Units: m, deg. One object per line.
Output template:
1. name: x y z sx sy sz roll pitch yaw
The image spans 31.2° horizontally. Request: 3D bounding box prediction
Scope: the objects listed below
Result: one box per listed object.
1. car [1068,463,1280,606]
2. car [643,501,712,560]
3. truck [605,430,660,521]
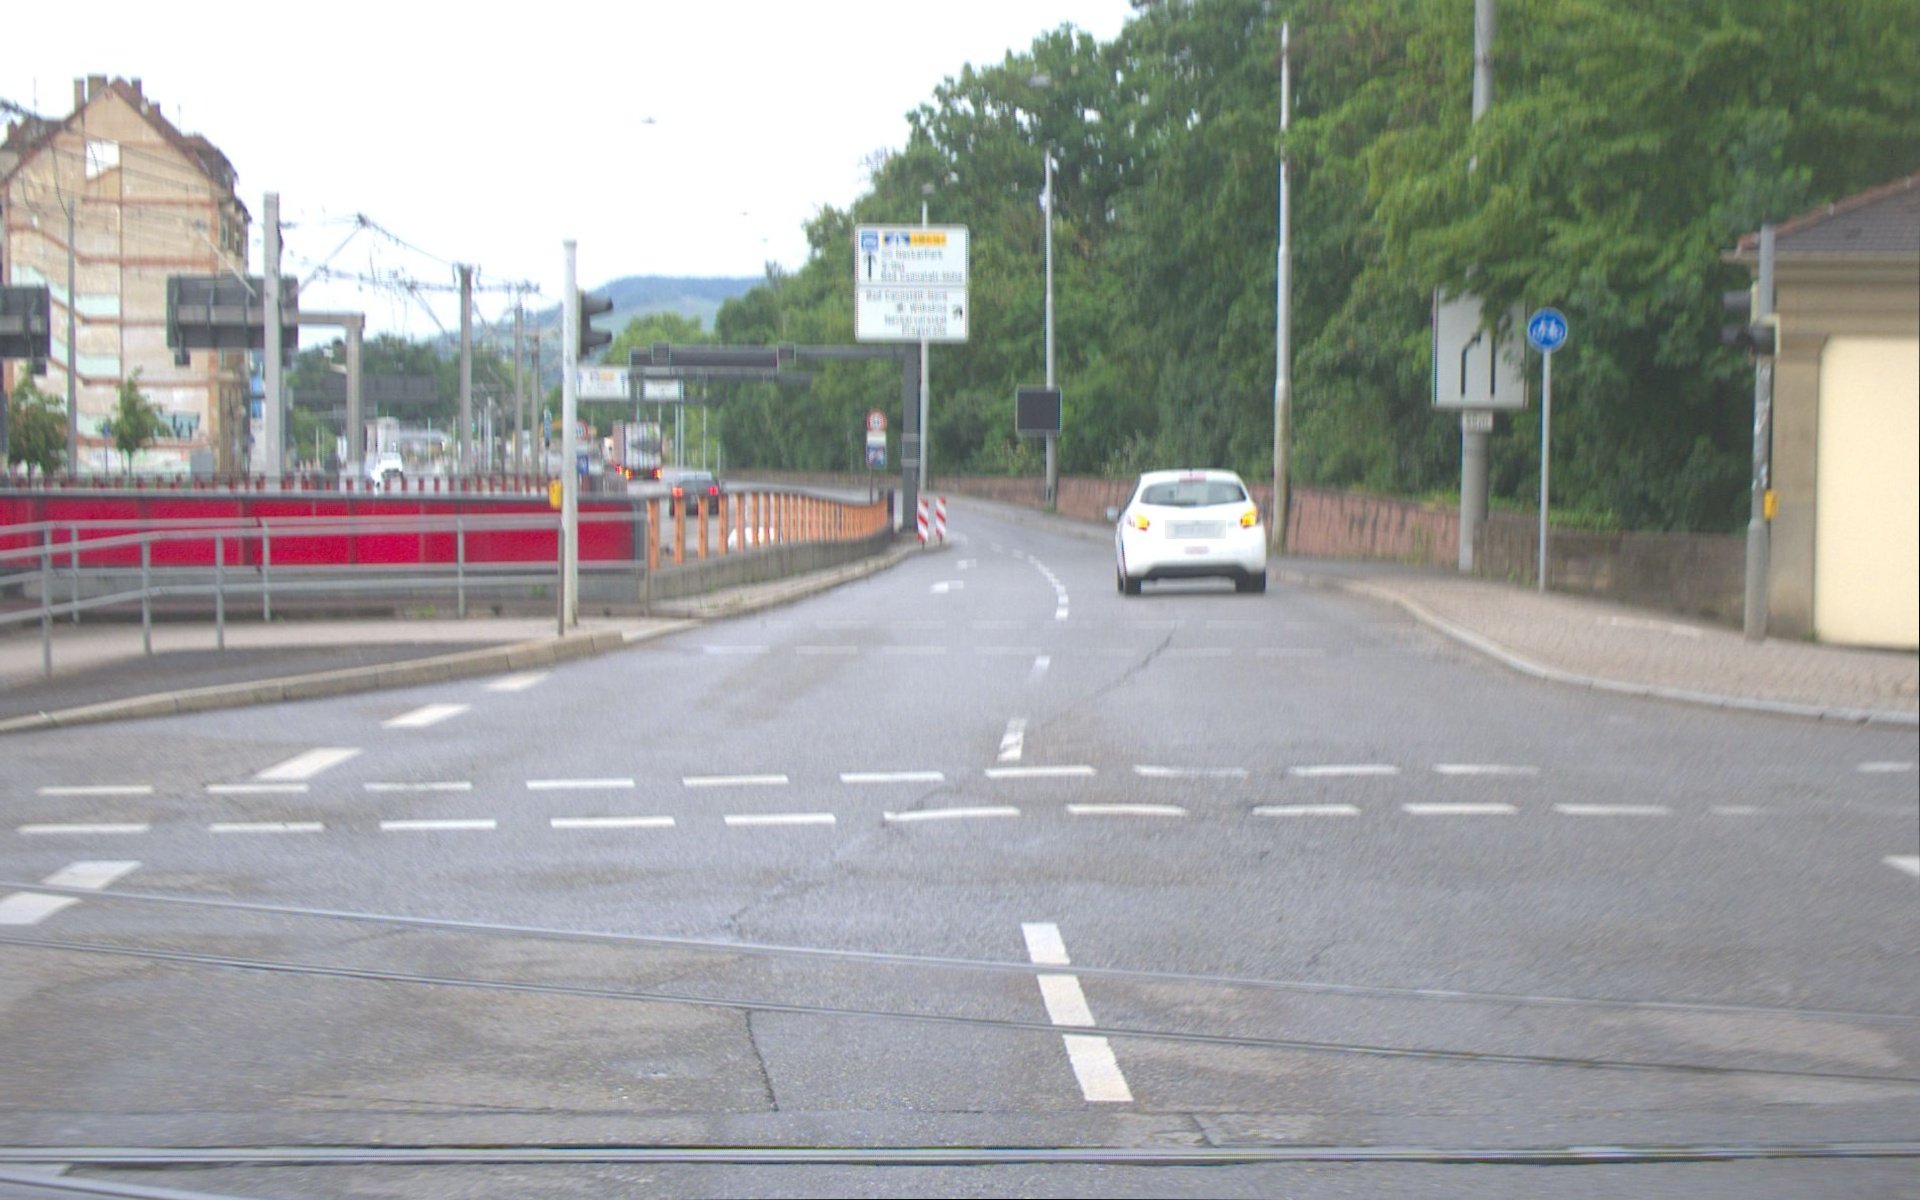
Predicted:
1. car: 2.524 -0.748 41.443 1.955 1.483 4.000 1 -2 -5
2. car: -9.365 -2.292 113.779 1.993 1.866 4.001 -1 0 -8
3. truck: -22.482 -8.454 235.247 3.464 5.383 12.052 1 -2 -7
